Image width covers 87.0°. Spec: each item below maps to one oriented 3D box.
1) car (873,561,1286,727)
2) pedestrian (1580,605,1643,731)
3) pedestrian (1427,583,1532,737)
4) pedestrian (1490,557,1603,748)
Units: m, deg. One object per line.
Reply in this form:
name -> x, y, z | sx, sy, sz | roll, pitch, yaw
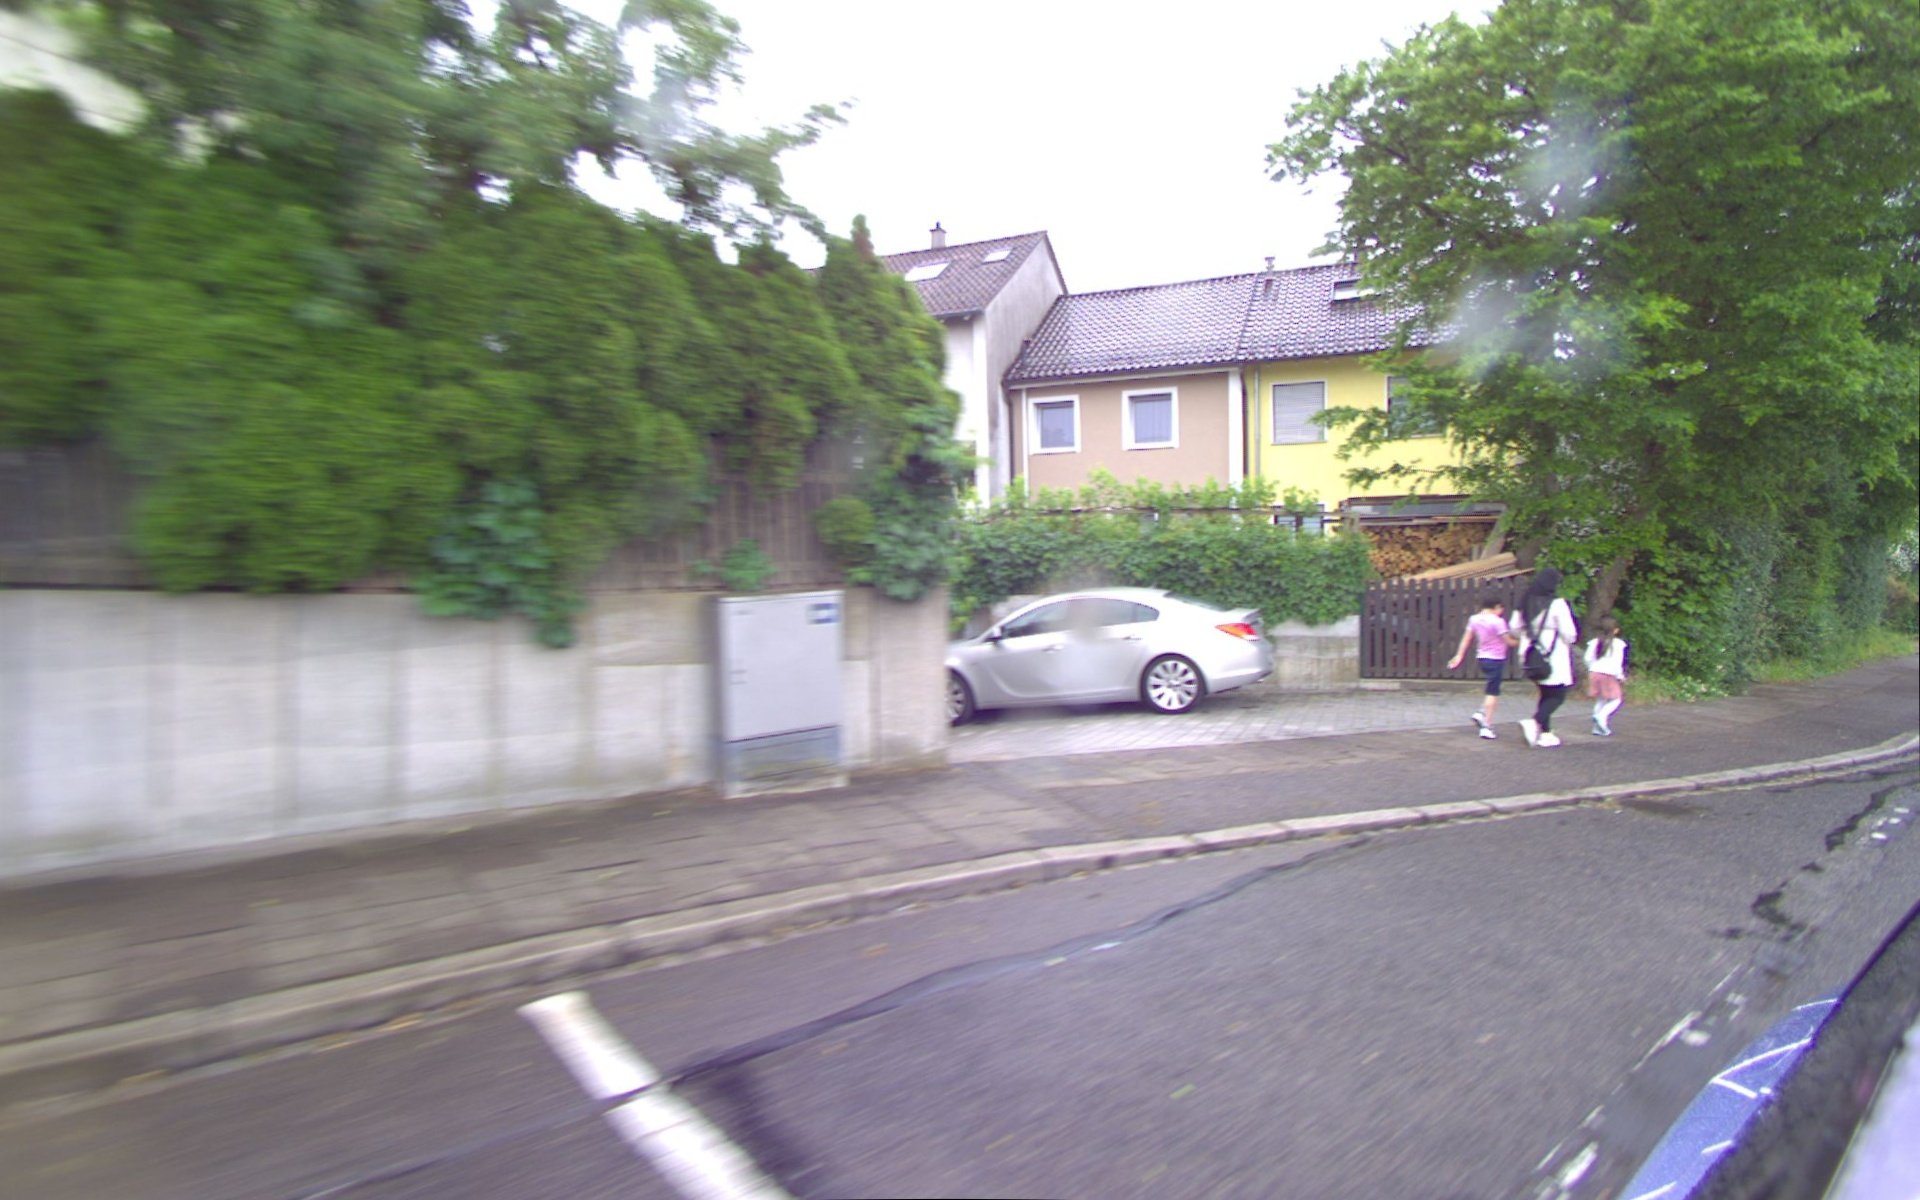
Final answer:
car -> 1.444, 0.530, 12.154 | 4.545, 1.438, 1.779 | -7, -1, 20
pedestrian -> 6.242, 0.637, 9.699 | 0.359, 1.161, 0.369 | 0, 1, -32
pedestrian -> 4.877, 0.534, 9.511 | 0.633, 1.371, 0.604 | 0, 1, -32
pedestrian -> 5.205, 0.436, 8.989 | 0.633, 1.613, 0.612 | 0, 1, -32
